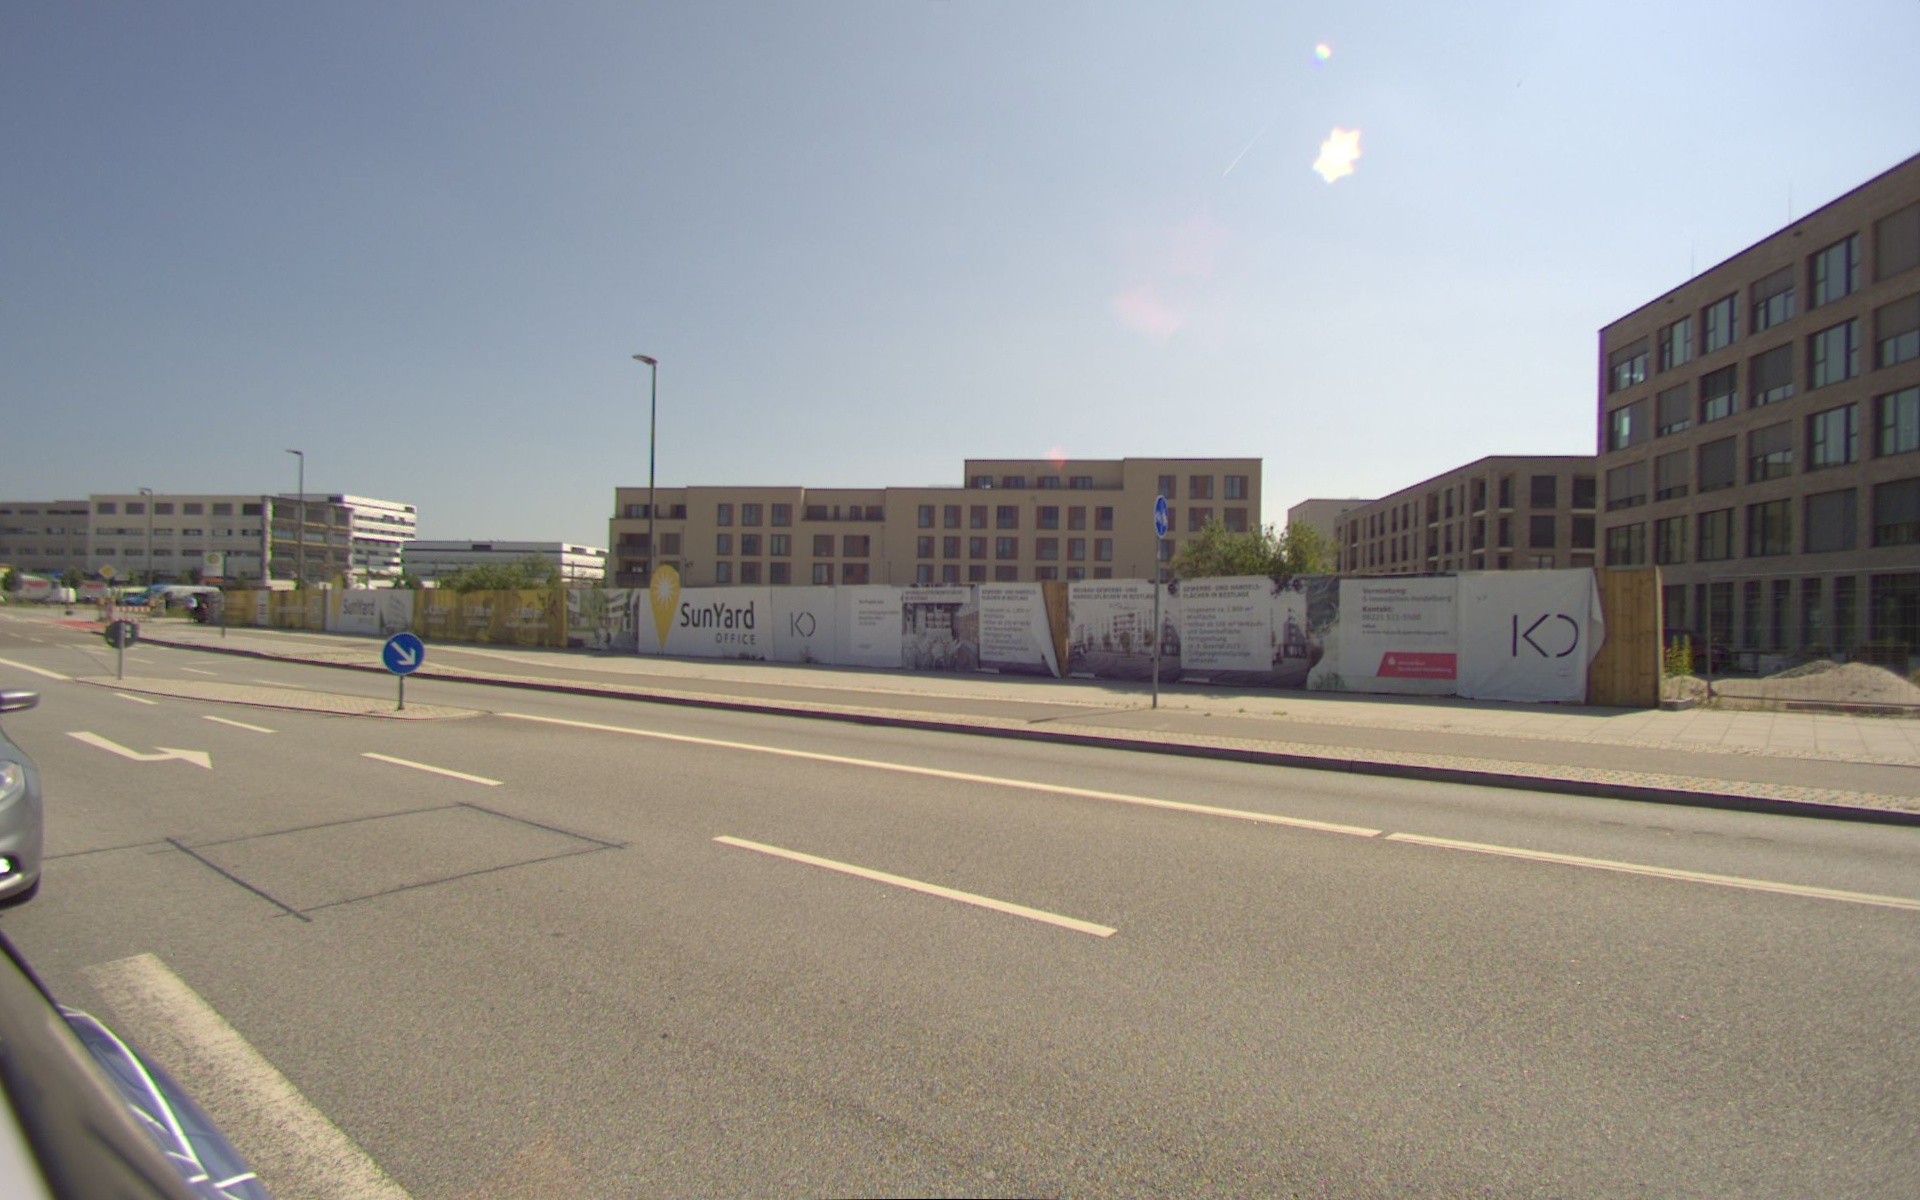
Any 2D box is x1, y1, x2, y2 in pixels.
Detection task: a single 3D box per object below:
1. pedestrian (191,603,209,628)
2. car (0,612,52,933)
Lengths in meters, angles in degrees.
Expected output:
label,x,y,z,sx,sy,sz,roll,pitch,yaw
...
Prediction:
label,x,y,z,sx,sy,sz,roll,pitch,yaw
pedestrian,-48.857,0.977,65.066,0.610,1.598,0.703,-1,0,5
car,-6.186,0.774,5.220,4.134,1.390,1.762,-1,0,41
